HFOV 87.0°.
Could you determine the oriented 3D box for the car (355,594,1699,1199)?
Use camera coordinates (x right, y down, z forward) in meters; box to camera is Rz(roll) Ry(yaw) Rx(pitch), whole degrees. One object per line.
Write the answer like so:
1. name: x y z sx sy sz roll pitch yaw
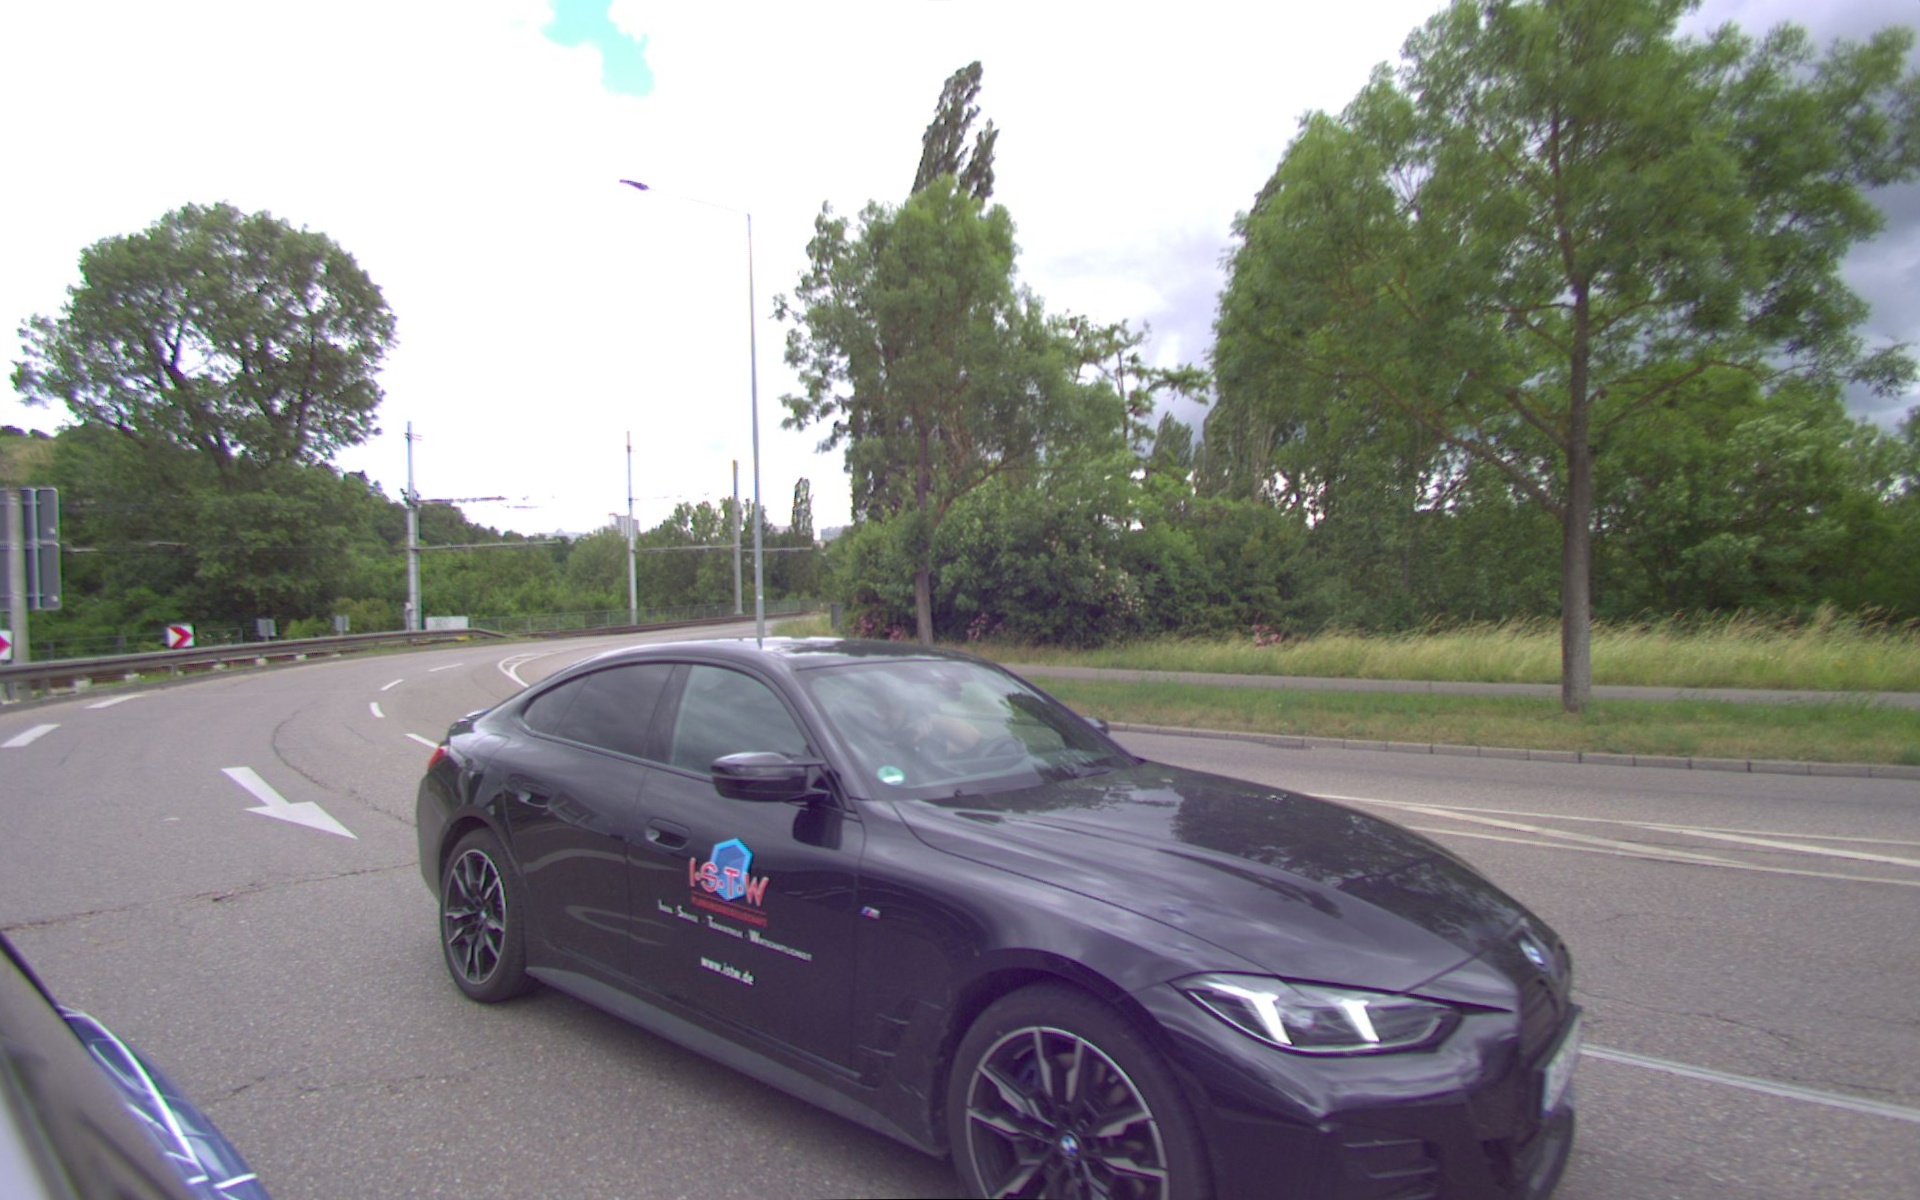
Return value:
1. car: -0.341 0.821 3.849 4.960 1.488 1.853 -2 -3 40
